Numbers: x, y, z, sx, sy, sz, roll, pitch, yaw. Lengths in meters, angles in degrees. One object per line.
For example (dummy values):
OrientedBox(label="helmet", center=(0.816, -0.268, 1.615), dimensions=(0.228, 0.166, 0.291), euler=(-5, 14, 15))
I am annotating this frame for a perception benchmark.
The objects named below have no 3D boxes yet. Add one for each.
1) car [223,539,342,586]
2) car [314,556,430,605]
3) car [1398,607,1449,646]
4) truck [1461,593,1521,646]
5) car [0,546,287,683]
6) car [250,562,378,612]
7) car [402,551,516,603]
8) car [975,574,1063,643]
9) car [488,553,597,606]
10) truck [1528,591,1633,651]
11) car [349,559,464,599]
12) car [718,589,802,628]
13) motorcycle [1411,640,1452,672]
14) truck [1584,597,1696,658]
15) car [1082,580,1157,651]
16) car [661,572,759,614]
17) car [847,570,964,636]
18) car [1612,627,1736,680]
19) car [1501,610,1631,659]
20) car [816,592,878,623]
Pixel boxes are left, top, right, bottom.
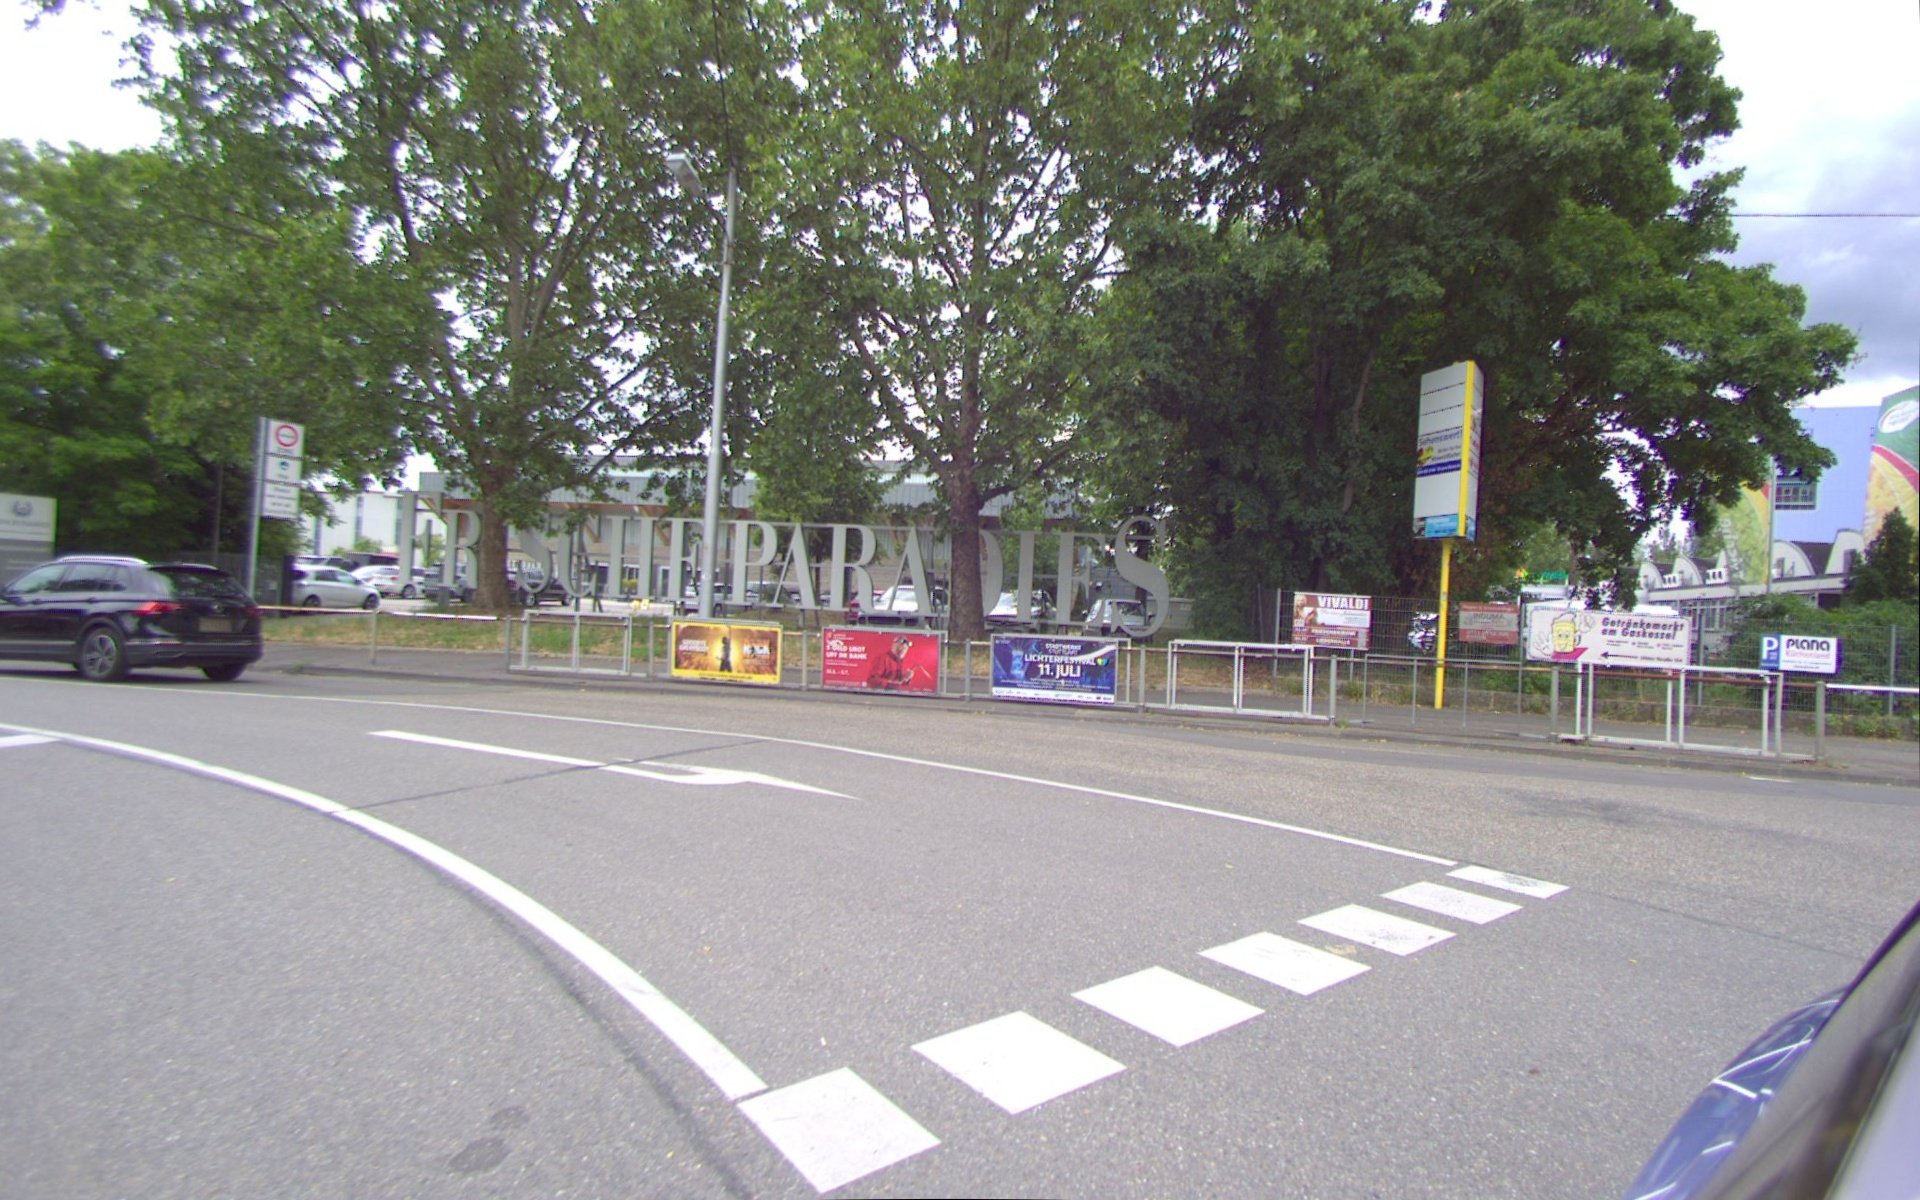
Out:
OrientedBox(label="car", center=(-33.779, -1.811, 50.610), dimensions=(1.971, 2.039, 4.801), euler=(3, 0, 14))
OrientedBox(label="car", center=(-27.343, -0.853, 47.239), dimensions=(1.971, 2.039, 4.619), euler=(3, 0, 14))
OrientedBox(label="car", center=(32.535, 1.824, 71.203), dimensions=(2.280, 2.510, 6.885), euler=(3, 0, 17))
OrientedBox(label="truck", center=(46.143, 1.669, 88.168), dimensions=(2.961, 4.218, 9.133), euler=(3, 0, 18))
OrientedBox(label="car", center=(-11.830, 0.171, 14.017), dimensions=(4.124, 1.657, 1.841), euler=(2, -2, 15))
OrientedBox(label="car", center=(-21.705, -0.385, 34.163), dimensions=(1.458, 1.524, 3.718), euler=(3, 0, 11))
OrientedBox(label="car", center=(-22.218, -0.980, 45.120), dimensions=(1.971, 2.039, 4.619), euler=(3, 0, 14))
OrientedBox(label="car", center=(1.654, 0.251, 27.057), dimensions=(1.568, 1.633, 4.298), euler=(3, -1, 13))
OrientedBox(label="car", center=(-18.059, -0.847, 44.058), dimensions=(1.971, 2.039, 4.619), euler=(3, 0, 14))
OrientedBox(label="truck", center=(47.400, 1.595, 77.921), dimensions=(2.814, 3.983, 15.640), euler=(3, 0, 17))
OrientedBox(label="car", center=(-25.202, -0.934, 46.312), dimensions=(1.971, 1.578, 4.619), euler=(3, 0, 14))
OrientedBox(label="car", center=(-9.109, 0.405, 46.472), dimensions=(1.971, 1.581, 4.619), euler=(3, 0, 14))
OrientedBox(label="motorcycle", center=(19.468, 2.299, 41.797), dimensions=(1.001, 1.189, 2.090), euler=(3, 0, 11))
OrientedBox(label="truck", center=(51.326, 2.017, 77.019), dimensions=(2.836, 4.076, 15.750), euler=(3, 0, 19))
OrientedBox(label="car", center=(4.230, 0.418, 26.375), dimensions=(1.568, 1.633, 3.982), euler=(3, -1, 13))
OrientedBox(label="car", center=(-10.233, -0.248, 41.861), dimensions=(1.971, 1.581, 4.619), euler=(3, 0, 14))
OrientedBox(label="car", center=(-1.417, 0.134, 28.247), dimensions=(1.858, 1.633, 4.502), euler=(3, -1, 16))
OrientedBox(label="car", center=(20.313, 1.477, 28.974), dimensions=(1.686, 1.264, 3.682), euler=(3, 0, 16))
OrientedBox(label="car", center=(40.769, 2.277, 68.274), dimensions=(7.065, 2.767, 2.229), euler=(3, 0, 20))
OrientedBox(label="car", center=(-6.312, 0.465, 57.117), dimensions=(1.971, 1.581, 4.619), euler=(3, 0, 14))
